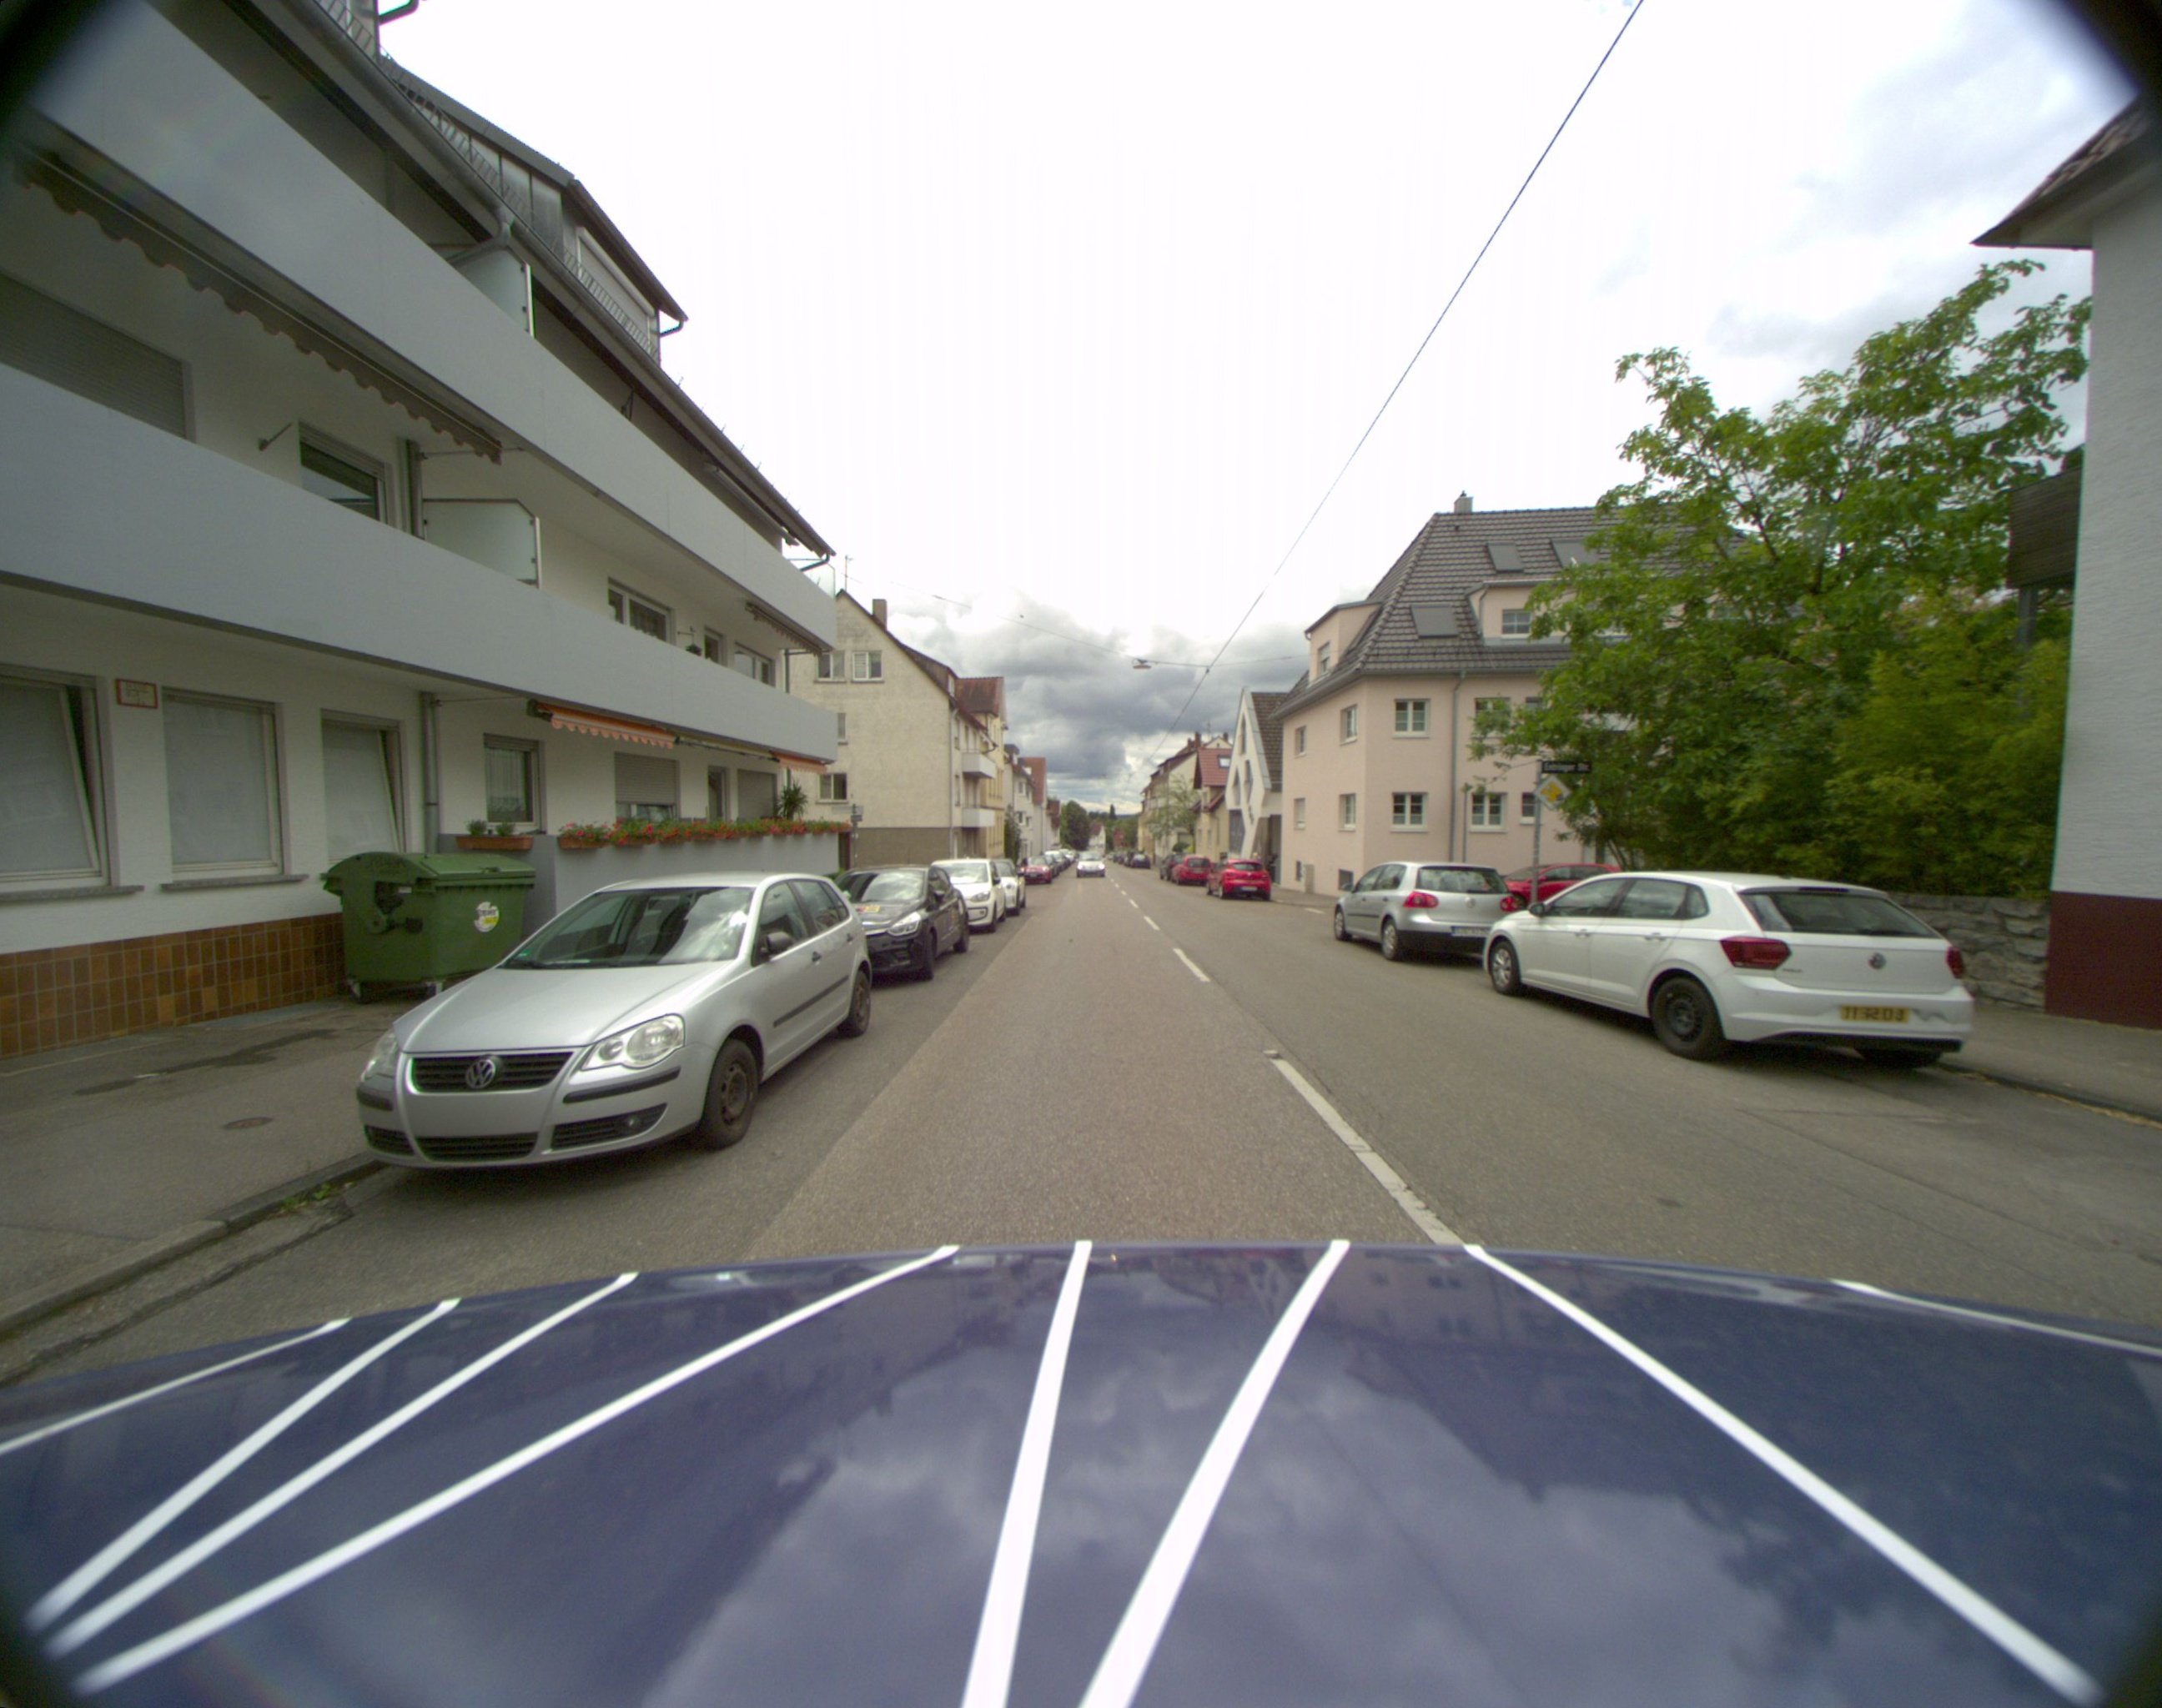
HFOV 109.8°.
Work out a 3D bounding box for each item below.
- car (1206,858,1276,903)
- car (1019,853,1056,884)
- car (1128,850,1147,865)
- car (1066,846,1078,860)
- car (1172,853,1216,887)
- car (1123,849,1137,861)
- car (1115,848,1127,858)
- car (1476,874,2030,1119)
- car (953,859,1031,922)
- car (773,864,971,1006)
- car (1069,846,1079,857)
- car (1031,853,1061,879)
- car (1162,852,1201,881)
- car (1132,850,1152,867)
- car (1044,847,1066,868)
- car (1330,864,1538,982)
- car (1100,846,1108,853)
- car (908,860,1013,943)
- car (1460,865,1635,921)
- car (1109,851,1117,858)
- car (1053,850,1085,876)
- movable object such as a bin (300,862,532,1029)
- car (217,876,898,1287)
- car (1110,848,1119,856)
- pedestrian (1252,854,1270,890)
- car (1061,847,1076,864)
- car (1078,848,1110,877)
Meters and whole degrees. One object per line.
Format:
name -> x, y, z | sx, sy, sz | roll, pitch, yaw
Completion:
car -> 5.728, 0.909, 27.594 | 1.706, 1.402, 3.735 | 3, 1, 0
car -> -2.210, 0.706, 39.577 | 1.613, 1.447, 3.859 | -2, 1, 0
car -> 6.044, 0.384, 81.925 | 1.706, 1.524, 3.735 | 3, 1, 0
car -> -1.297, -0.155, 107.121 | 1.613, 1.789, 3.859 | -2, 1, 0
car -> 5.760, 0.794, 39.106 | 1.706, 1.524, 3.735 | 3, 1, 0
car -> 6.537, 0.139, 101.758 | 1.706, 1.524, 3.735 | 3, 1, 0
car -> 6.478, -0.124, 122.808 | 1.706, 1.524, 3.735 | 3, 1, 0
car -> 5.408, 0.991, 6.910 | 1.653, 1.438, 3.811 | 1, 1, 1
car -> -2.269, 0.899, 20.190 | 1.584, 1.397, 3.597 | -2, 1, 0
car -> -2.636, 0.939, 10.502 | 1.613, 1.447, 3.859 | -2, 1, 0
car -> -1.185, -0.438, 130.436 | 1.613, 1.789, 3.859 | -2, 1, 0
car -> -2.132, 0.700, 47.379 | 1.613, 1.447, 3.859 | -2, 1, 0
car -> 5.777, 0.694, 44.035 | 1.706, 1.524, 3.735 | 3, 1, 0
car -> 6.074, 0.451, 76.226 | 1.706, 1.524, 3.735 | 3, 1, 0
car -> -2.107, 0.283, 63.234 | 1.613, 1.633, 3.859 | -2, 1, 0
car -> 5.280, 0.939, 11.947 | 1.653, 1.438, 3.774 | 1, 1, 3
car -> 6.103, -1.293, 202.305 | 1.705, 1.706, 3.737 | 3, 1, 5
car -> -2.422, 0.906, 15.996 | 1.613, 1.447, 3.313 | -2, 1, 0
car -> 12.668, 1.041, 20.827 | 3.731, 1.402, 1.708 | -1, 1, 5
car -> 7.474, 0.070, 180.215 | 1.706, 1.524, 3.735 | 3, 1, 0
car -> -0.748, 0.547, 51.594 | 1.998, 1.608, 3.999 | -2, 1, 1
movable object such as a bin -> -6.422, 0.831, 7.449 | 1.082, 1.428, 1.260 | -2, 1, 1
car -> -2.634, 0.991, 5.244 | 1.613, 1.447, 4.333 | -2, 1, 0
car -> 6.893, -0.383, 156.092 | 1.706, 1.524, 3.735 | 3, 1, 0
pedestrian -> 7.720, 0.754, 32.661 | 0.583, 1.524, 0.600 | -2, 1, 1
car -> -1.393, 0.112, 85.071 | 1.613, 1.789, 3.859 | -2, 1, 0
car -> 0.841, 0.468, 46.366 | 1.721, 1.587, 4.000 | -2, 1, 4
